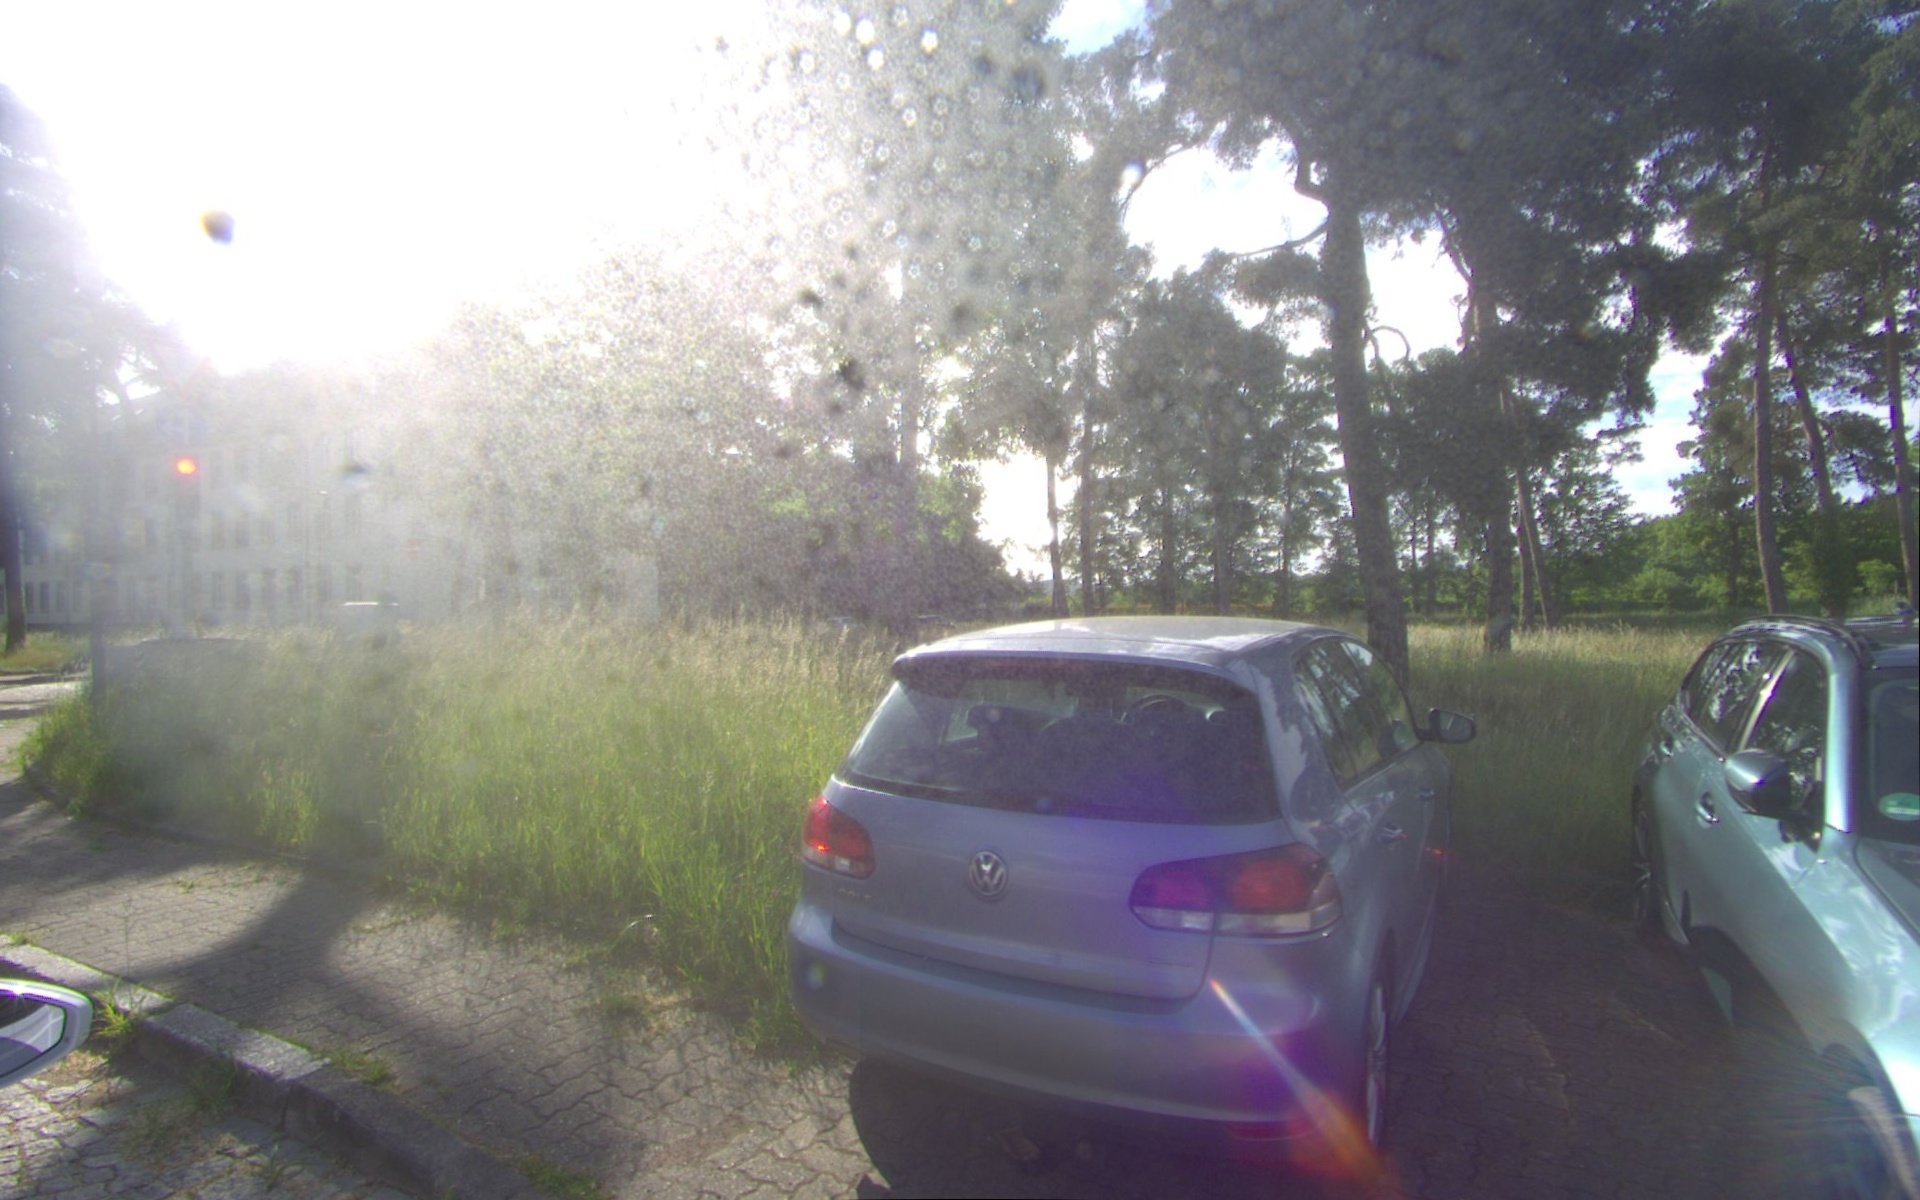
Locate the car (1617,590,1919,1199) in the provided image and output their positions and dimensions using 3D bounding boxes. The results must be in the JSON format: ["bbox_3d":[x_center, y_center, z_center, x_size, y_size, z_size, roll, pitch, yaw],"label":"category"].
[{"bbox_3d":[3.146,0.743,2.745,1.797,1.537,4.491,0,0,28],"label":"car"}]

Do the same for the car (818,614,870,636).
[{"bbox_3d":[-8.204,1.733,71.083,1.818,1.483,3.985,0,-1,27],"label":"car"}]

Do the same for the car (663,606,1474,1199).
[{"bbox_3d":[0.959,0.785,4.110,1.843,1.480,4.009,0,0,30],"label":"car"}]
